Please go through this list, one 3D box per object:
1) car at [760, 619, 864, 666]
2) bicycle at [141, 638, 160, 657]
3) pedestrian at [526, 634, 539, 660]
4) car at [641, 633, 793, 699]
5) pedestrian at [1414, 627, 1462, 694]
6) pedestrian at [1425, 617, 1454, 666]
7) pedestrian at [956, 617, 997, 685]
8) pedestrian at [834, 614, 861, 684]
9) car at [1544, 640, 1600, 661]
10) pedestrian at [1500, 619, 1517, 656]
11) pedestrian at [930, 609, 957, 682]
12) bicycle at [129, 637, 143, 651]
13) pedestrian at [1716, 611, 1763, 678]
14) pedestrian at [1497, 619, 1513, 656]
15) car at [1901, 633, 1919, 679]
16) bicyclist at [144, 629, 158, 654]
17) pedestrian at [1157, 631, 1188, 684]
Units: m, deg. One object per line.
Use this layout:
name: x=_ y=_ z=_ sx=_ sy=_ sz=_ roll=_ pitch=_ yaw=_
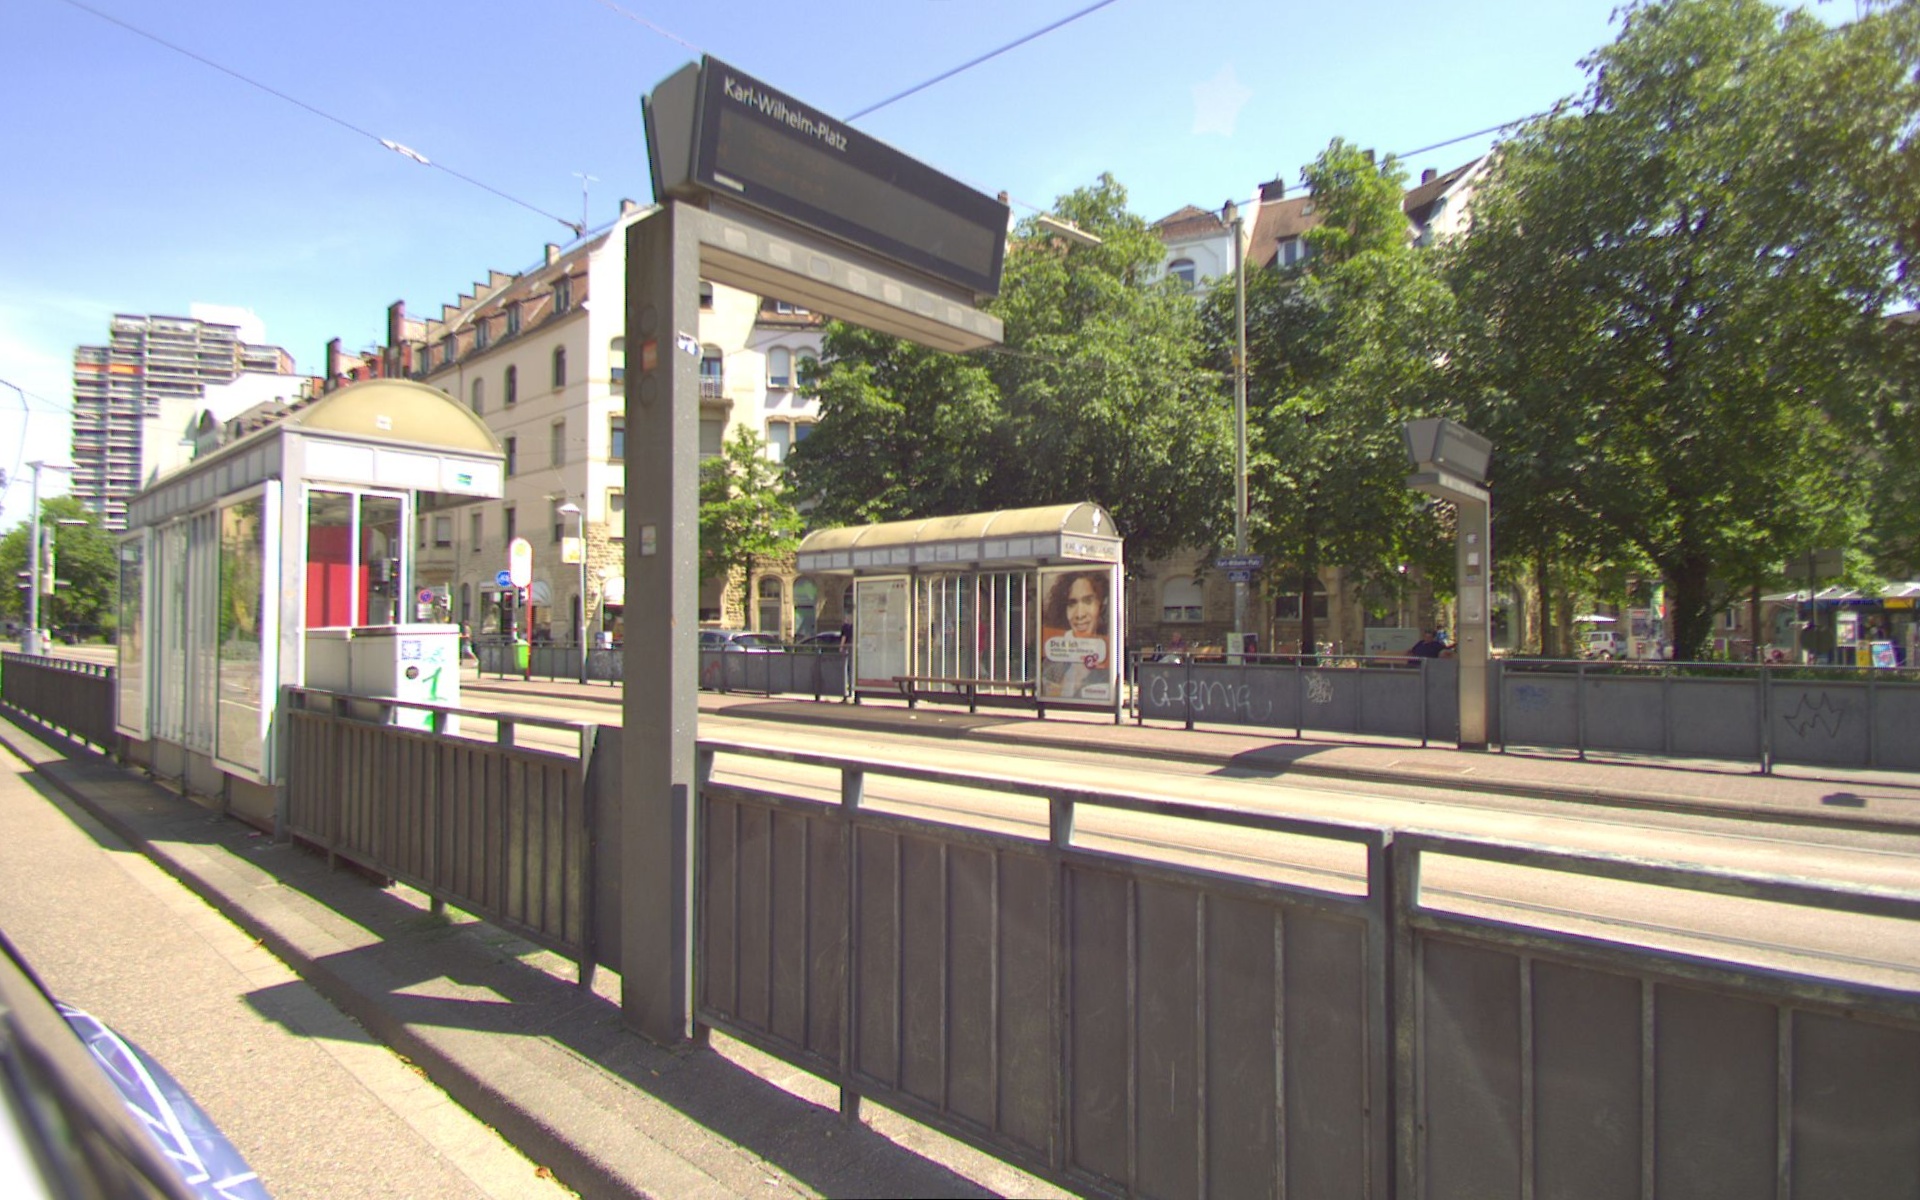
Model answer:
car: x=-5.215 y=1.483 z=35.520 sx=3.530 sy=1.587 sz=1.586 roll=0 pitch=-1 yaw=-9
bicycle: x=-51.724 y=3.025 z=64.633 sx=1.977 sy=1.166 sz=0.621 roll=-2 pitch=-2 yaw=42
pedestrian: x=-19.389 y=2.141 z=45.861 sx=0.405 sy=1.157 sz=0.401 roll=-1 pitch=-1 yaw=38
car: x=-5.636 y=1.456 z=23.265 sx=3.716 sy=1.349 sz=1.525 roll=-1 pitch=-1 yaw=40
pedestrian: x=9.443 y=1.188 z=20.017 sx=0.637 sy=1.297 sz=0.618 roll=0 pitch=-1 yaw=2
pedestrian: x=17.604 y=1.514 z=37.188 sx=0.606 sy=1.764 sz=0.719 roll=0 pitch=-1 yaw=-25
pedestrian: x=0.400 y=1.236 z=24.827 sx=0.772 sy=1.618 sz=0.673 roll=-1 pitch=-1 yaw=38
pedestrian: x=-3.020 y=1.309 z=27.187 sx=0.494 sy=1.836 sz=0.505 roll=-1 pitch=-2 yaw=43
car: x=26.490 y=2.178 z=43.828 sx=1.899 sy=0.872 sz=0.856 roll=0 pitch=-1 yaw=17
pedestrian: x=24.616 y=1.667 z=45.398 sx=0.560 sy=1.635 sz=0.507 roll=-1 pitch=-2 yaw=41
pedestrian: x=-0.436 y=1.197 z=26.879 sx=0.504 sy=1.893 sz=0.494 roll=1 pitch=-2 yaw=-44
bicycle: x=-65.145 y=3.488 z=80.019 sx=2.046 sy=1.105 sz=0.487 roll=-2 pitch=-2 yaw=42
pedestrian: x=23.999 y=1.377 z=31.166 sx=0.704 sy=2.029 sz=0.816 roll=0 pitch=-2 yaw=-10
pedestrian: x=24.262 y=1.661 z=45.028 sx=0.526 sy=1.635 sz=0.491 roll=-1 pitch=-2 yaw=41
car: x=32.234 y=1.779 z=32.563 sx=3.676 sy=1.453 sz=1.546 roll=0 pitch=-1 yaw=-24
bicyclist: x=-51.670 y=2.638 z=64.617 sx=0.585 sy=1.586 sz=0.602 roll=-1 pitch=-2 yaw=41
pedestrian: x=5.101 y=1.379 z=24.332 sx=0.637 sy=1.265 sz=0.549 roll=0 pitch=-1 yaw=2
